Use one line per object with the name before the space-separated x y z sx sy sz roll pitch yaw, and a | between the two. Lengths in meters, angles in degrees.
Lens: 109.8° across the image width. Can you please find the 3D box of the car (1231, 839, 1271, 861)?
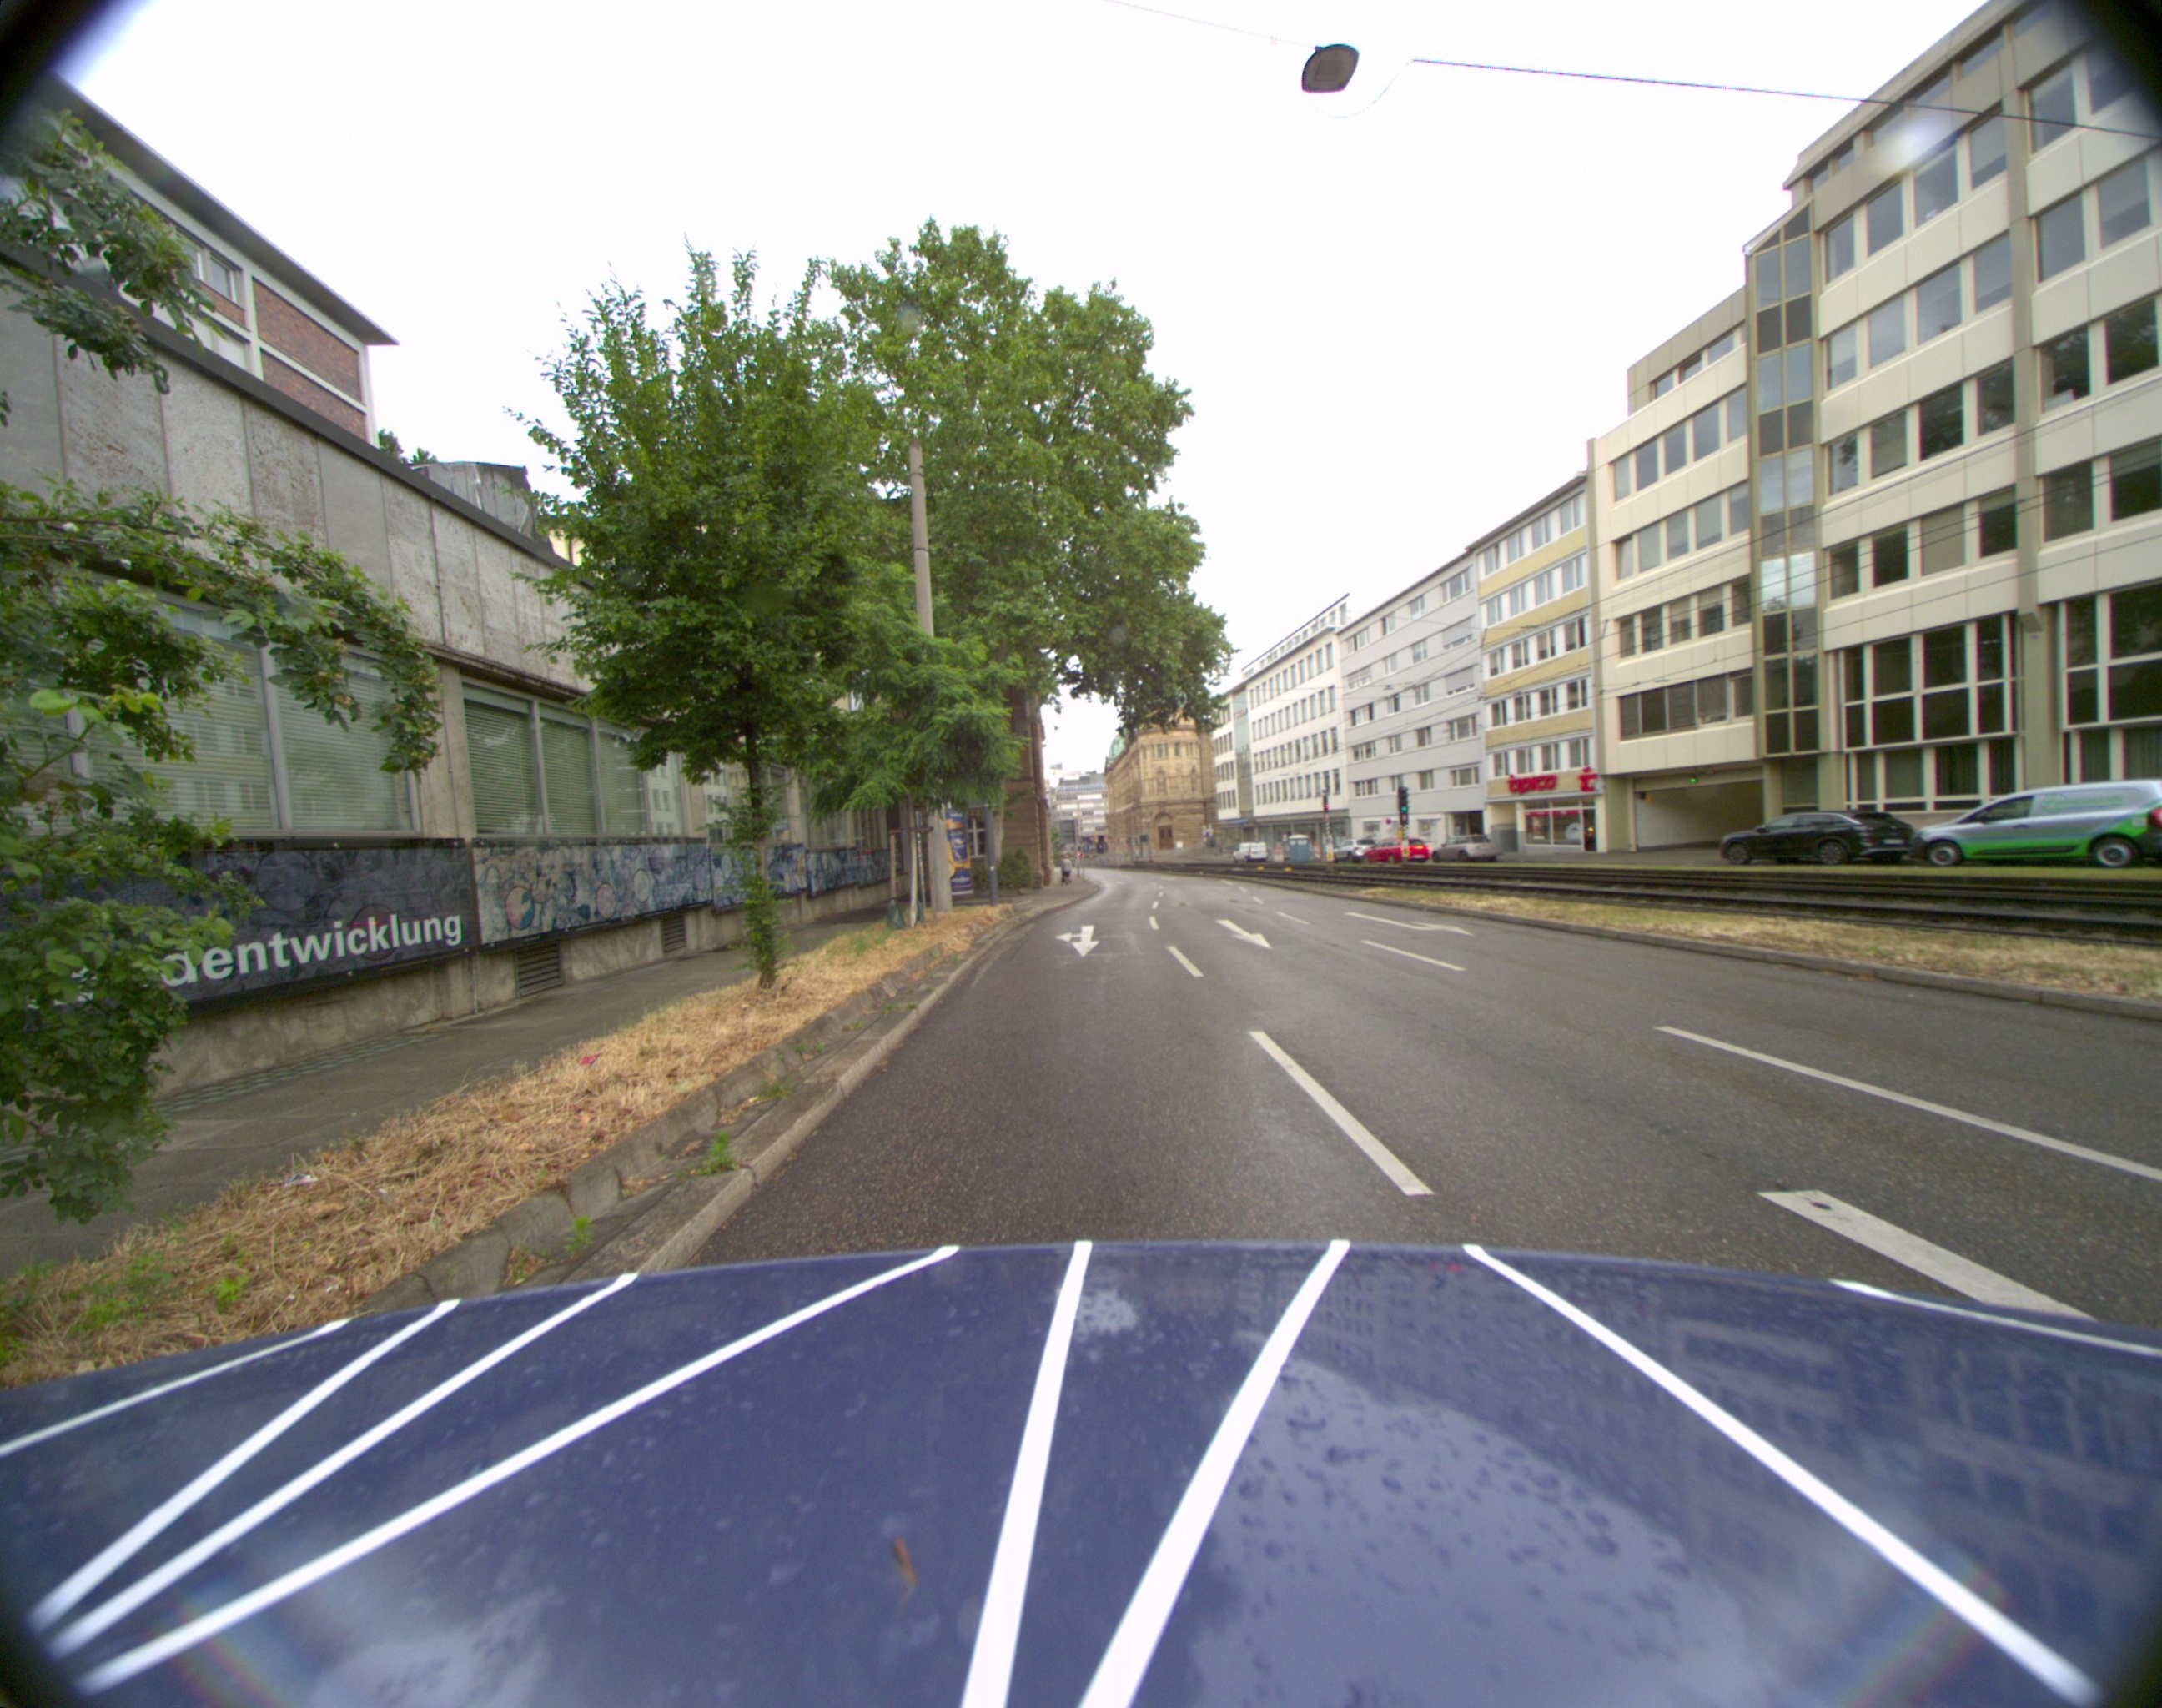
car | 16.374 -0.444 73.367 1.999 1.832 5.127 -6 2 -7

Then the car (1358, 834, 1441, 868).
car | 16.460 -0.202 39.492 1.999 1.479 4.323 -6 2 -7

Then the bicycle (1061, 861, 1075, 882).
bicycle | -0.790 1.027 45.527 0.620 1.213 0.911 -2 1 12

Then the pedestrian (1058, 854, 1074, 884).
pedestrian | -0.883 0.847 44.533 0.719 1.732 1.020 -1 1 11

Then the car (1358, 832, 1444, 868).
car | 16.549 -0.220 39.595 1.987 1.631 4.412 -5 1 -10

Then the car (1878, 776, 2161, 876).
car | 21.503 -0.626 17.032 1.999 1.840 4.691 -6 2 -7

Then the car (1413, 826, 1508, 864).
car | 19.444 -0.499 39.169 1.999 1.664 4.691 -6 2 -7

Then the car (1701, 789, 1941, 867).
car | 21.085 -0.715 21.995 1.999 1.840 4.691 -6 2 -7

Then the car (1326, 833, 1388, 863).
car | 18.320 -0.365 50.637 1.999 1.664 4.693 -6 0 -4
